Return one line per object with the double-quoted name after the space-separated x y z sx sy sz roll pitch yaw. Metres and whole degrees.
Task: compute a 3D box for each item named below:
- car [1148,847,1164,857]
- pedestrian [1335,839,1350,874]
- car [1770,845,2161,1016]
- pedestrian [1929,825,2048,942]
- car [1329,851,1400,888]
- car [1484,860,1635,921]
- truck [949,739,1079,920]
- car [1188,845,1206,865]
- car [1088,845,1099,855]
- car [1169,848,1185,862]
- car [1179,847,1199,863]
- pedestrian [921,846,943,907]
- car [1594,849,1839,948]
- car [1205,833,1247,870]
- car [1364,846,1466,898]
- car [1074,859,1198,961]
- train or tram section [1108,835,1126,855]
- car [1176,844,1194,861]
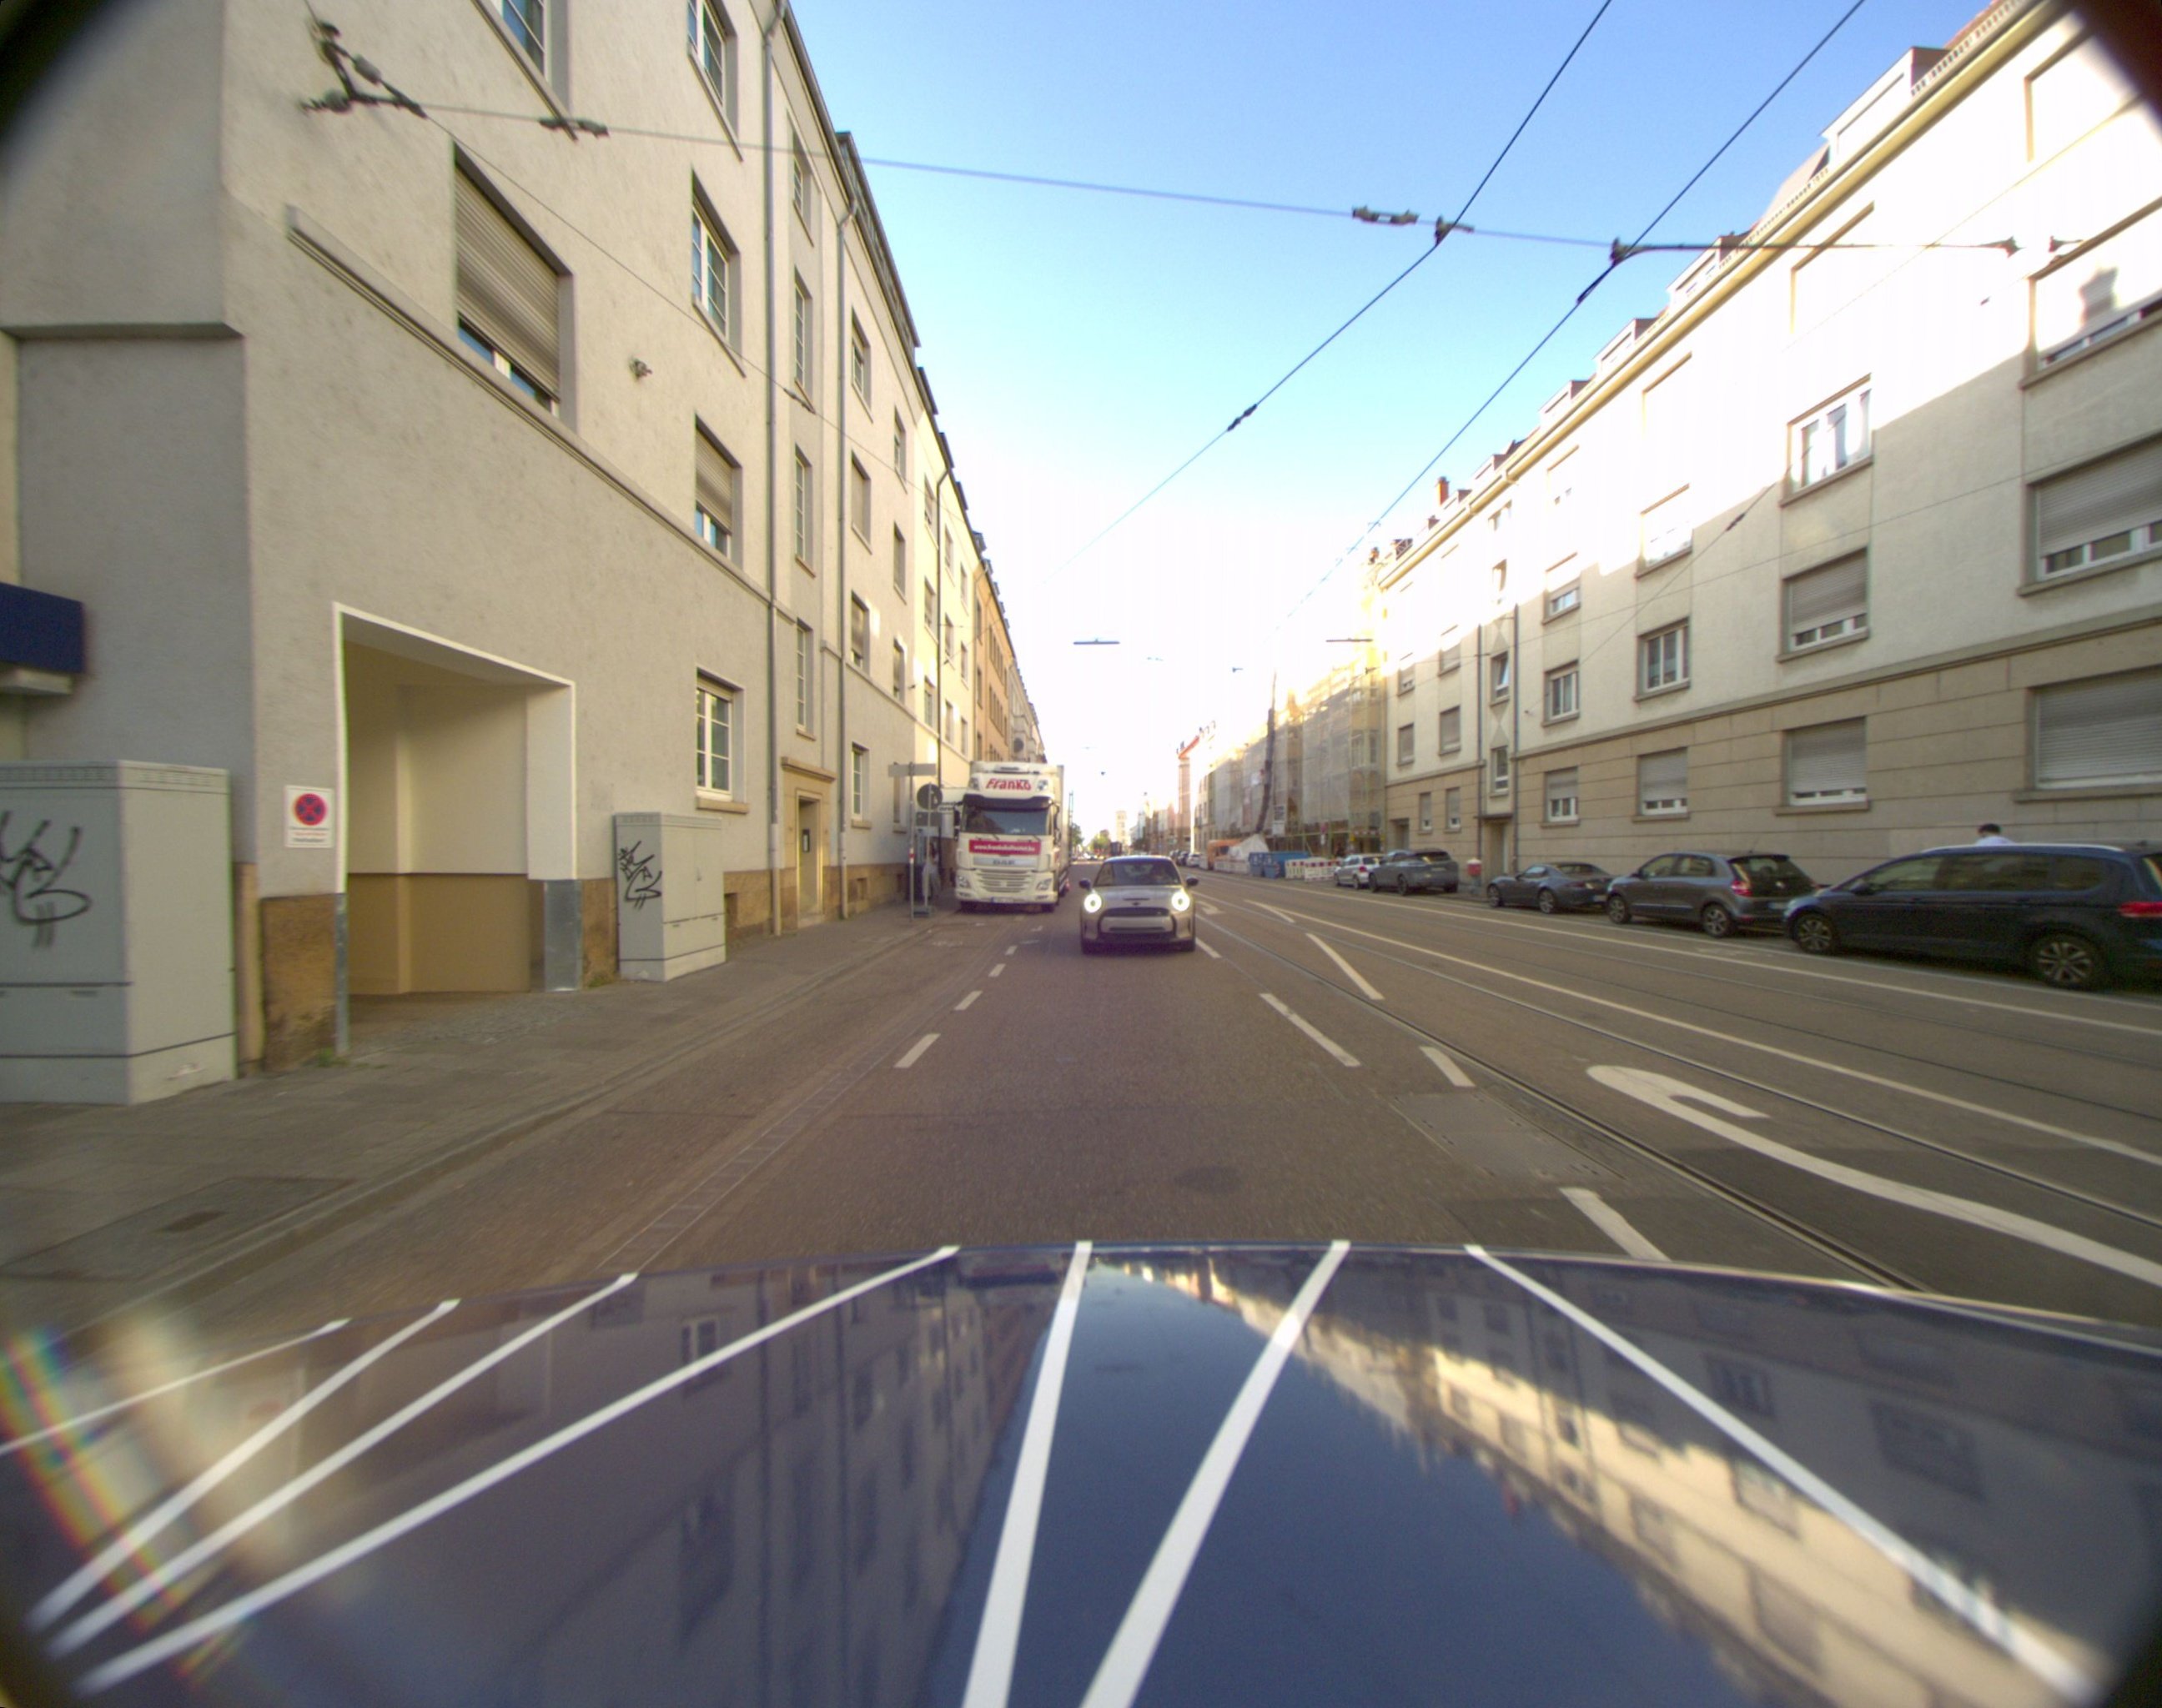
12.417 -0.407 125.607 2.231 1.518 4.959 -2 1 1 "car"
14.236 0.120 41.350 0.519 1.861 0.763 -2 1 0 "pedestrian"
11.744 0.748 9.742 1.819 1.624 4.324 -3 1 -1 "car"
14.313 0.439 12.016 0.664 1.757 1.005 -2 1 -7 "pedestrian"
11.825 0.606 31.940 1.565 1.372 3.507 -3 1 -1 "car"
11.846 0.846 19.073 1.476 1.212 3.523 -3 1 -1 "car"
-1.585 -0.703 23.726 2.699 4.214 11.775 0 1 1 "truck"
11.750 0.046 77.330 1.657 1.912 3.766 -2 1 8 "car"
2.374 -0.746 146.353 1.999 1.871 4.270 -2 1 -1 "car"
11.940 0.115 94.640 1.532 1.518 3.599 -2 1 1 "car"
11.826 0.075 83.243 1.570 1.674 3.936 -2 1 1 "car"
-3.977 0.589 20.299 0.475 1.620 0.467 0 2 2 "pedestrian"
11.830 0.730 14.490 1.643 1.549 3.595 -3 1 0 "car"
11.284 -0.209 59.569 2.215 2.681 5.872 -2 1 1 "car"
11.925 0.583 27.433 1.751 1.600 4.158 -3 1 -1 "car"
0.849 0.805 12.610 1.727 1.416 3.817 0 0 2 "car"
6.741 -1.728 144.111 2.866 3.542 13.040 0 1 0 "train or tram section"
12.220 -0.186 89.865 1.570 1.945 4.184 -2 1 1 "car"
